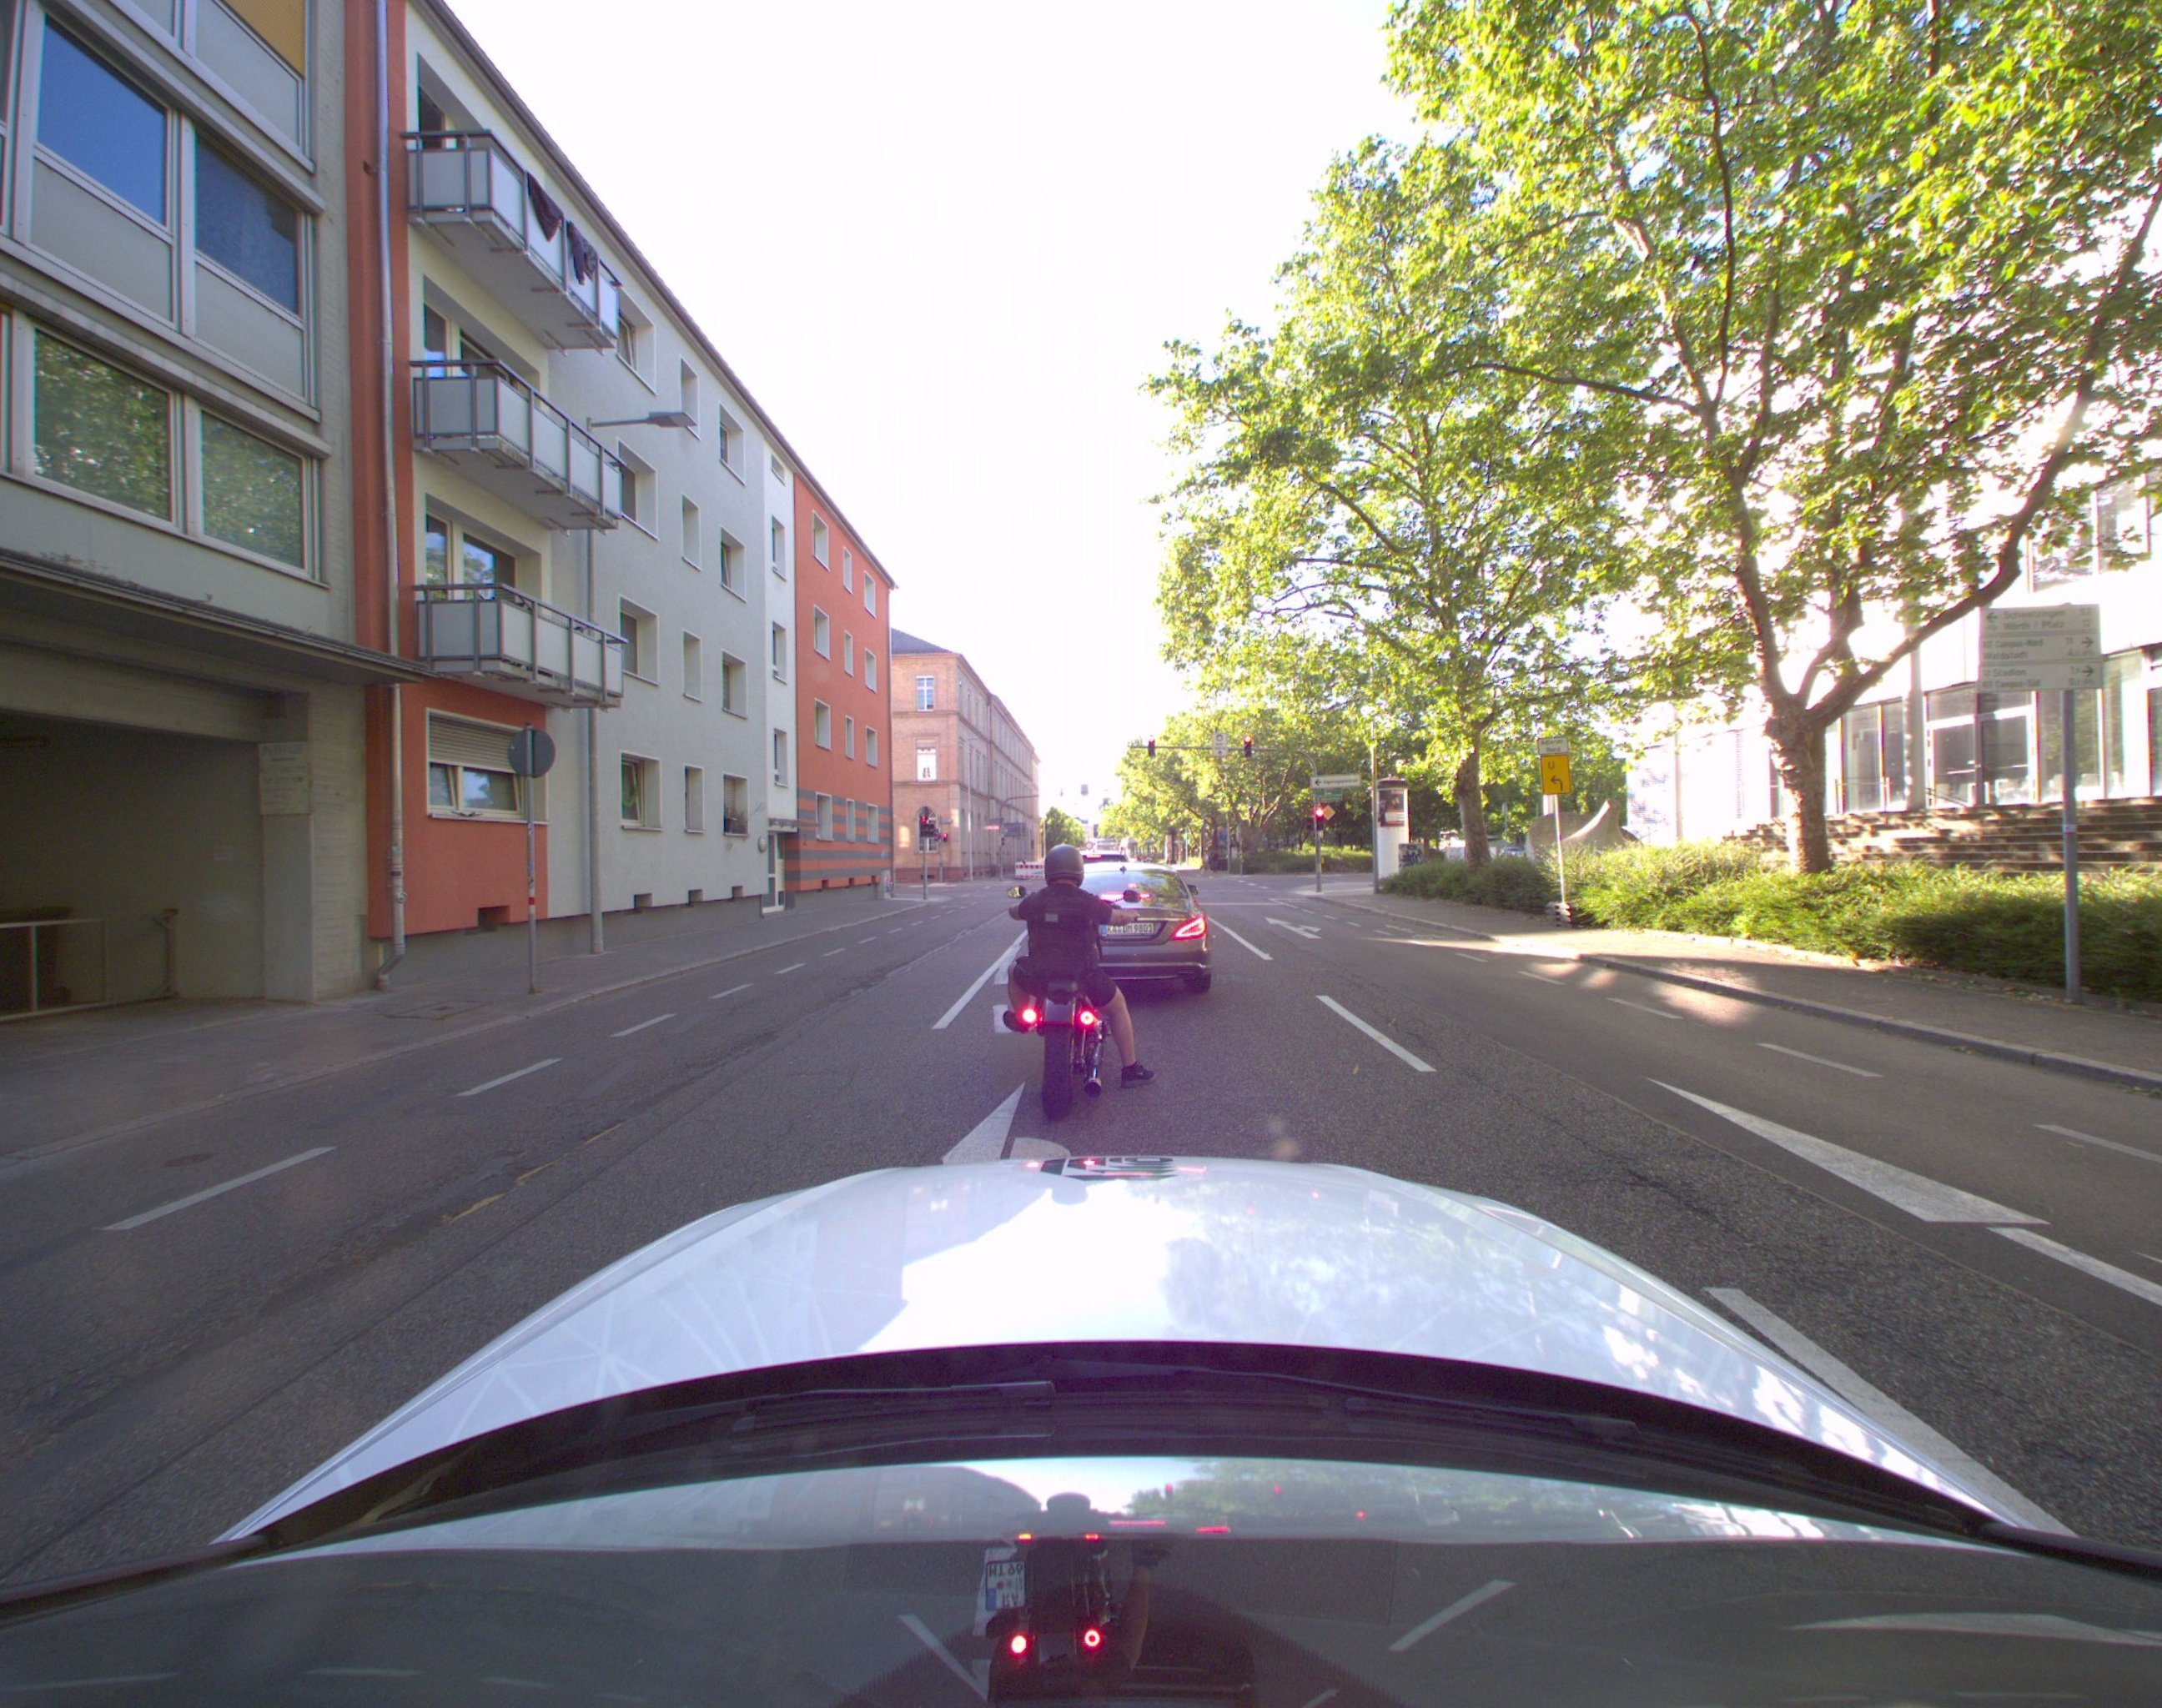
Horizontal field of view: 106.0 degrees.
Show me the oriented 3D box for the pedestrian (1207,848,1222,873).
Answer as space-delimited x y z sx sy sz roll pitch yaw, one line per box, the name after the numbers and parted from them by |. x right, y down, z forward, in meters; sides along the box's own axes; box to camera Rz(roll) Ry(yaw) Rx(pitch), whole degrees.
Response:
10.562 0.513 64.276 0.753 1.910 0.918 0 -1 -26 | pedestrian

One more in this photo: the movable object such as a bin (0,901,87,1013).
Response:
-11.257 1.068 8.629 0.626 1.100 0.659 0 -1 4 | movable object such as a bin

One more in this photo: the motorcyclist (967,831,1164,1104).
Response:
-0.072 0.671 5.429 1.145 1.598 1.288 0 -1 1 | motorcyclist

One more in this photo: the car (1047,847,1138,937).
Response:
0.276 0.692 16.854 1.615 1.594 4.002 -1 0 2 | car

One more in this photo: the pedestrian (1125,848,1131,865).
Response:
5.817 0.276 100.948 0.761 2.051 0.712 0 -1 1 | pedestrian

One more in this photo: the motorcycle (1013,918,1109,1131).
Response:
-0.077 1.003 5.410 0.511 1.002 2.014 0 -1 2 | motorcycle

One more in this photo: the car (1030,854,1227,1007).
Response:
0.517 0.739 9.726 1.875 1.449 3.821 0 0 2 | car

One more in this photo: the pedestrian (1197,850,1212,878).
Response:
8.050 0.638 53.109 0.996 1.826 1.078 -1 -1 8 | pedestrian
